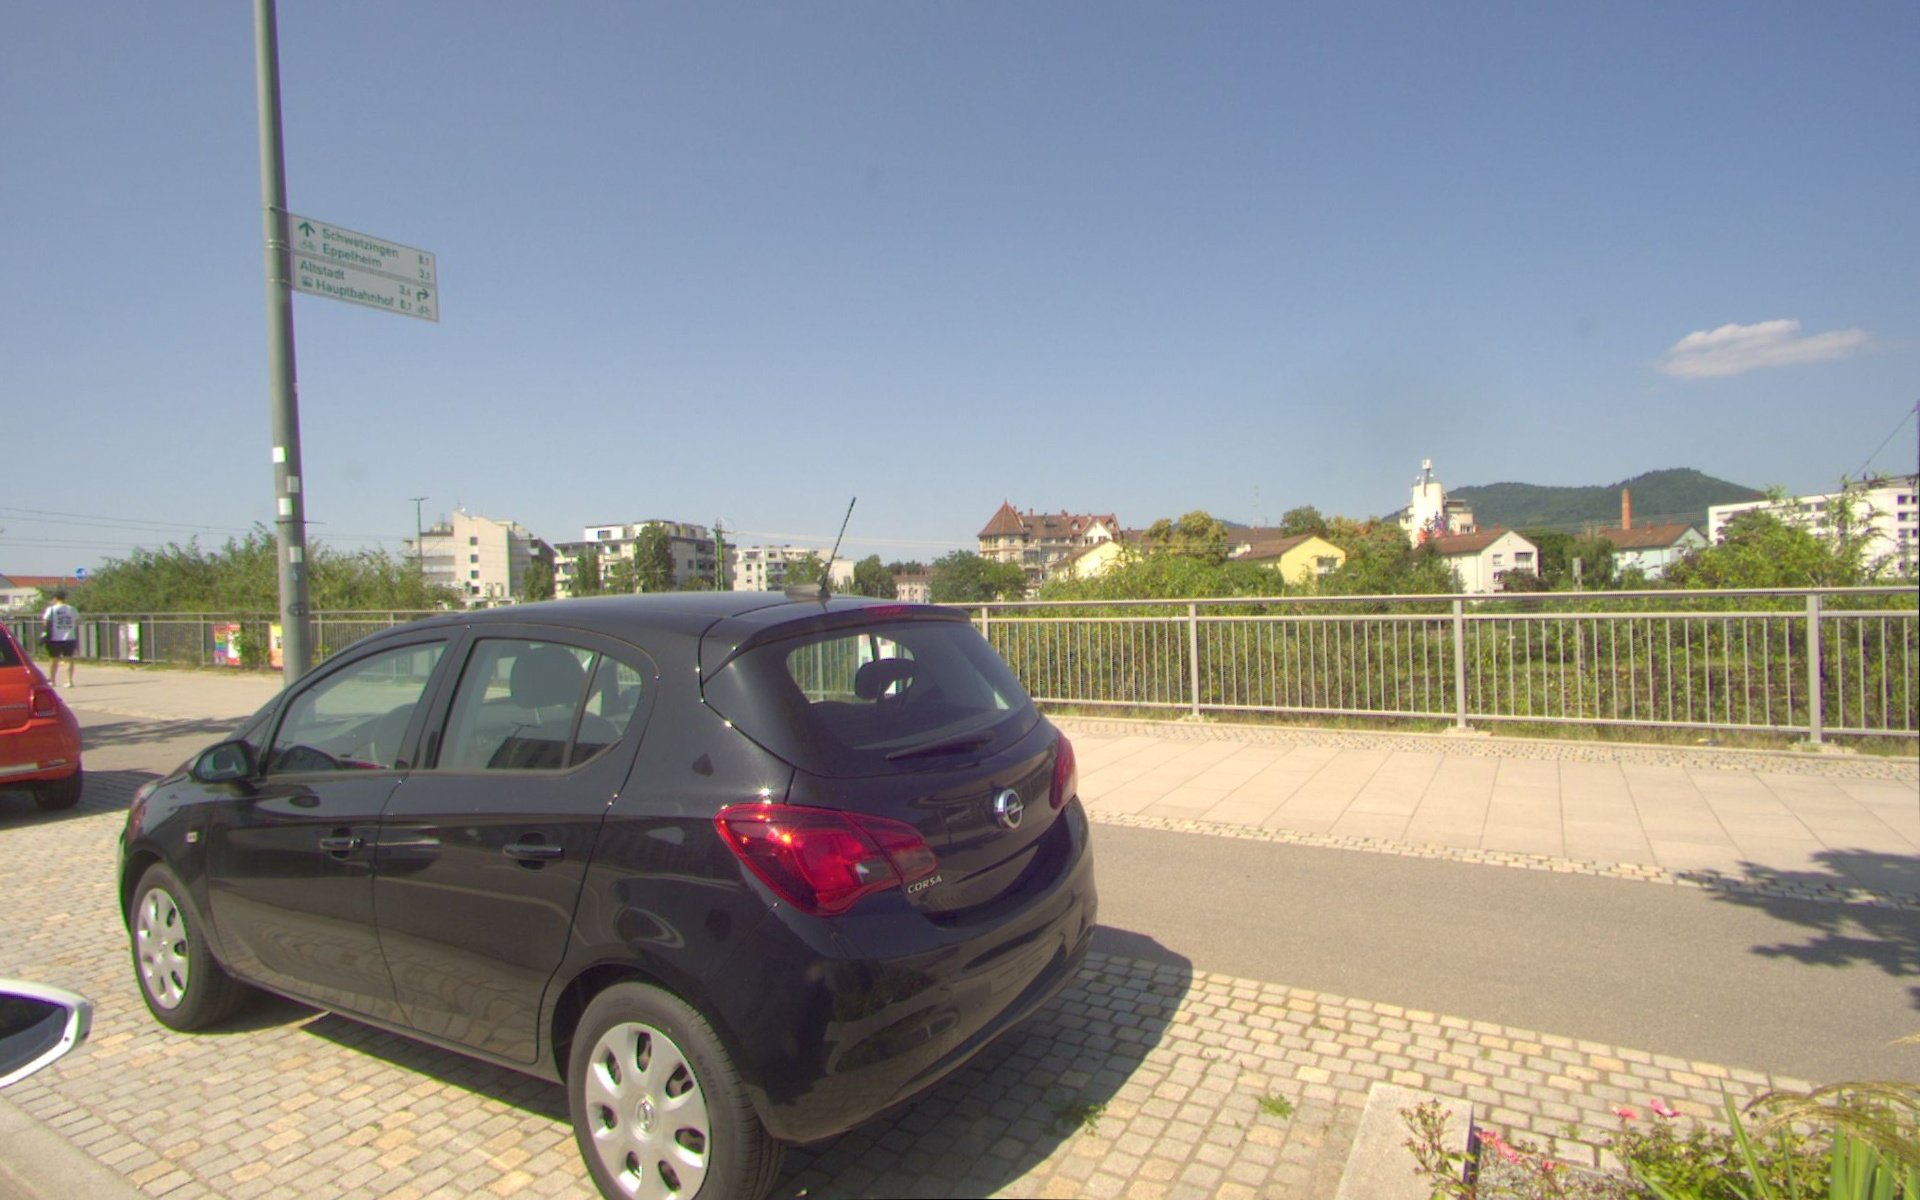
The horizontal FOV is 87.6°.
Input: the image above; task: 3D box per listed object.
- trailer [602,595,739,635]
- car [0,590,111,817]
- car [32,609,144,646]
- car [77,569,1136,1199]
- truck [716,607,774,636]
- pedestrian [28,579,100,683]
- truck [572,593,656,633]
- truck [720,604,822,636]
[{"bbox_3d":[-26.833,1.559,94.544,3.674,3.243,17.244,-1,-3,17],"label":"trailer"},{"bbox_3d":[-8.364,0.778,7.774,3.863,1.560,1.665,-2,1,34],"label":"car"},{"bbox_3d":[-45.087,1.434,51.860,1.896,1.838,4.045,-1,-2,13],"label":"car"},{"bbox_3d":[-1.339,0.738,3.470,3.495,1.577,1.577,-1,2,32],"label":"car"},{"bbox_3d":[-25.359,2.586,118.703,2.459,3.197,9.899,-1,-2,16],"label":"truck"},{"bbox_3d":[-16.473,0.586,18.416,0.872,1.853,0.757,-1,-2,32],"label":"pedestrian"},{"bbox_3d":[-29.491,1.189,85.622,3.672,3.244,6.485,-1,-2,17],"label":"truck"},{"bbox_3d":[-21.155,2.392,114.267,3.674,3.243,17.876,-1,-3,17],"label":"truck"}]
